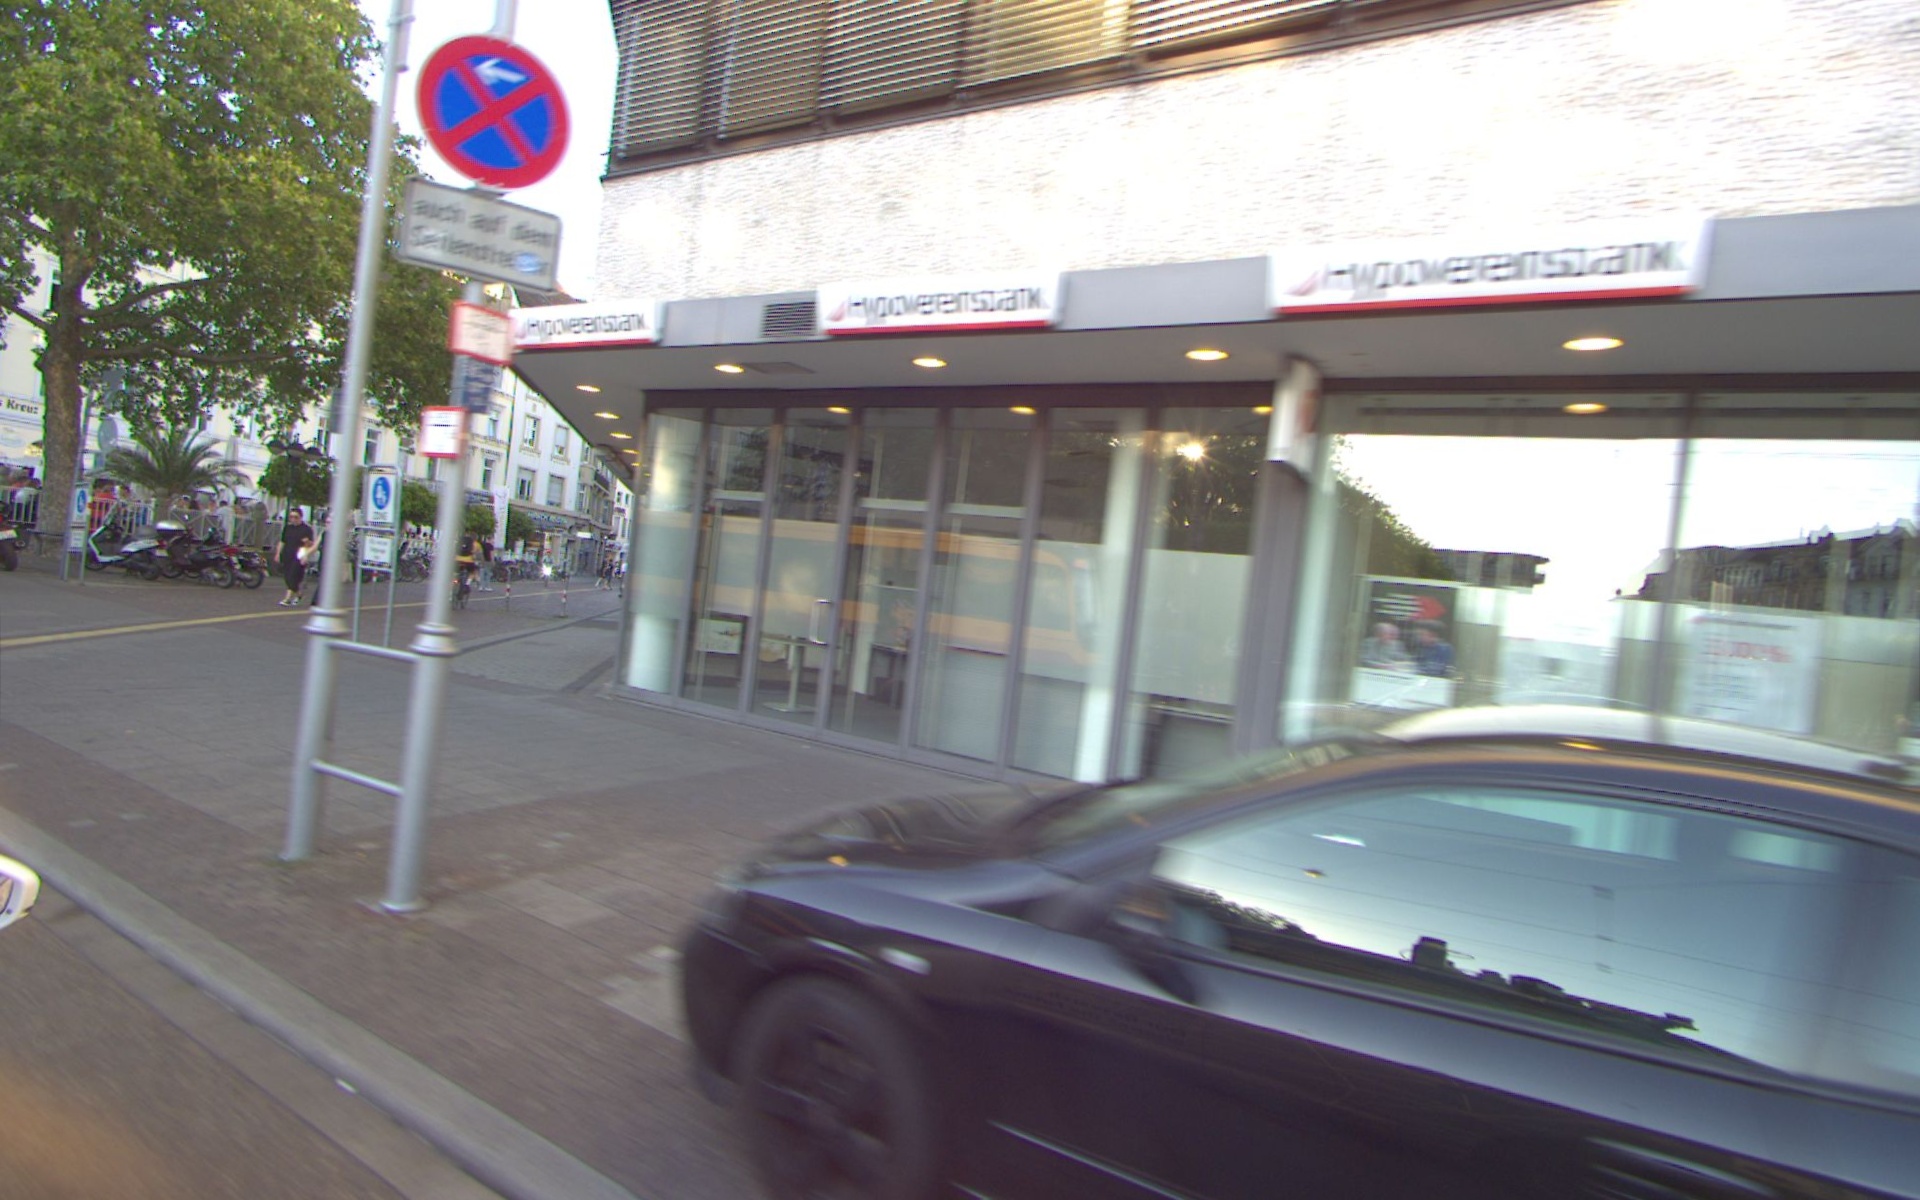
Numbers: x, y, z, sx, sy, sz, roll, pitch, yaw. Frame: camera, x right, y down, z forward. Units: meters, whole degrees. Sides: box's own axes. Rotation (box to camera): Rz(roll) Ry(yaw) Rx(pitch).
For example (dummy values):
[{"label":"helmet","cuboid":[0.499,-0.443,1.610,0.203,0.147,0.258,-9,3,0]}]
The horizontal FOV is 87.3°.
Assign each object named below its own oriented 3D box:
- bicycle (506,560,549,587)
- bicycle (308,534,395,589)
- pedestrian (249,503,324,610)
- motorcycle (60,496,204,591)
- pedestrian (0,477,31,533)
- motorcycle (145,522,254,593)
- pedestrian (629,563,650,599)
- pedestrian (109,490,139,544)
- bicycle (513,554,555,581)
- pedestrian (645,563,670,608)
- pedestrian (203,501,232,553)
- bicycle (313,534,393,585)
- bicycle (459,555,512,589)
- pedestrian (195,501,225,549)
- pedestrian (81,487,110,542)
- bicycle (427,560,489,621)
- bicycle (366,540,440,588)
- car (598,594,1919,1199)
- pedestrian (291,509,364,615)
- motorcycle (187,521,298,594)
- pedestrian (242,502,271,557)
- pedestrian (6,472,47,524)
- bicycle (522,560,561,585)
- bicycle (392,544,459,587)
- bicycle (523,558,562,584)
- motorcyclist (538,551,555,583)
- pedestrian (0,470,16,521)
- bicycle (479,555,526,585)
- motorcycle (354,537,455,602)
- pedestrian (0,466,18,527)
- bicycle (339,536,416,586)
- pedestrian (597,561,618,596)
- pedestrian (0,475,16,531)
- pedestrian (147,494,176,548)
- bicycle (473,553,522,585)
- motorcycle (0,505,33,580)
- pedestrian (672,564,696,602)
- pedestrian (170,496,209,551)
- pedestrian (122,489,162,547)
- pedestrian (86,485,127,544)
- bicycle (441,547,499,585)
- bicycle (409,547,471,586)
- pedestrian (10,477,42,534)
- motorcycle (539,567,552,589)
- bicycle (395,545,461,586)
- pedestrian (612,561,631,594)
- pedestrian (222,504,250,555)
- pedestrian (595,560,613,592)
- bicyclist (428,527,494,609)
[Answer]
[{"label":"bicycle","cuboid":[-24.531,-1.504,57.103,2.090,1.307,0.440,7,0,-24]},{"label":"bicycle","cuboid":[-17.794,-1.121,29.437,2.080,1.307,0.442,8,1,-4]},{"label":"pedestrian","cuboid":[-11.660,-0.729,17.449,0.647,1.762,0.823,5,0,-7]},{"label":"motorcycle","cuboid":[-16.059,-1.079,19.526,2.254,1.440,0.566,10,0,5]},{"label":"pedestrian","cuboid":[-23.140,-2.320,24.632,0.472,1.301,0.533,5,0,-44]},{"label":"motorcycle","cuboid":[-15.613,-0.876,20.670,1.763,1.164,0.553,9,0,5]},{"label":"pedestrian","cuboid":[-18.372,-1.090,57.731,0.831,1.993,0.756,5,0,-31]},{"label":"pedestrian","cuboid":[-21.090,-2.086,25.372,0.472,1.301,0.534,5,0,-42]},{"label":"bicycle","cuboid":[-24.762,-1.889,58.517,2.090,1.307,0.440,7,0,-24]},{"label":"pedestrian","cuboid":[-12.664,-0.614,42.145,0.564,1.808,0.624,5,0,23]},{"label":"pedestrian","cuboid":[-19.507,-1.902,26.422,0.472,1.301,0.534,5,0,-42]},{"label":"bicycle","cuboid":[-19.205,-1.282,31.838,2.080,1.308,0.441,8,2,-4]},{"label":"bicycle","cuboid":[-22.244,-1.314,47.190,2.090,1.307,0.440,7,0,-24]},{"label":"pedestrian","cuboid":[-21.616,-2.155,28.997,0.469,1.301,0.537,5,0,41]},{"label":"pedestrian","cuboid":[-21.664,-2.139,25.207,0.475,1.301,0.519,5,0,-41]},{"label":"bicycle","cuboid":[-11.231,-0.191,22.568,0.641,1.226,2.191,7,-2,-14]},{"label":"bicycle","cuboid":[-18.994,-1.228,34.341,2.080,1.307,0.442,8,1,-4]},{"label":"car","cuboid":[1.282,0.898,2.324,4.269,1.399,1.654,7,3,32]},{"label":"pedestrian","cuboid":[-10.954,-0.636,17.449,0.647,1.745,0.823,5,0,-7]},{"label":"motorcycle","cuboid":[-15.290,-0.898,21.459,1.920,1.297,0.563,7,0,5]},{"label":"pedestrian","cuboid":[-18.815,-1.881,26.909,0.472,1.417,0.534,5,0,-42]},{"label":"pedestrian","cuboid":[-32.222,-3.517,34.727,0.648,1.663,0.758,5,0,29]},{"label":"bicycle","cuboid":[-25.936,-1.687,62.385,2.090,1.307,0.440,7,0,-24]},{"label":"bicycle","cuboid":[-20.127,-1.298,37.925,2.090,1.307,0.440,8,0,-24]},{"label":"bicycle","cuboid":[-25.900,-1.802,62.460,2.090,1.307,0.440,7,0,-24]},{"label":"motorcyclist","cuboid":[-19.973,-1.576,48.589,0.591,1.458,0.600,6,0,-21]},{"label":"pedestrian","cuboid":[-32.574,-3.562,33.962,0.648,1.663,0.758,5,0,31]},{"label":"bicycle","cuboid":[-23.697,-1.547,52.099,2.090,1.307,0.440,7,0,-24]},{"label":"motorcycle","cuboid":[-13.285,-0.711,24.092,1.923,1.297,0.562,7,0,-6]},{"label":"pedestrian","cuboid":[-25.745,-2.780,26.961,0.617,1.590,0.623,5,0,-44]},{"label":"bicycle","cuboid":[-19.075,-1.266,32.940,2.080,1.308,0.441,8,2,-4]},{"label":"pedestrian","cuboid":[-19.420,-1.167,55.401,0.752,1.854,0.669,5,0,41]},{"label":"pedestrian","cuboid":[-23.701,-2.395,24.857,0.472,1.346,0.533,5,0,-44]},{"label":"pedestrian","cuboid":[-20.395,-2.016,25.687,0.472,1.301,0.534,5,0,-42]},{"label":"bicycle","cuboid":[-23.172,-1.539,50.405,2.090,1.307,0.440,7,0,-24]},{"label":"motorcycle","cuboid":[-16.568,-1.044,17.200,1.997,1.172,0.455,7,0,32]},{"label":"pedestrian","cuboid":[-12.273,-0.745,44.814,0.750,1.615,0.617,5,0,1]},{"label":"pedestrian","cuboid":[-19.462,-1.919,25.417,0.642,1.301,0.732,5,0,-42]},{"label":"pedestrian","cuboid":[-19.912,-1.983,24.485,0.642,1.301,0.732,5,0,-42]},{"label":"pedestrian","cuboid":[-20.439,-2.039,24.078,0.642,1.301,0.732,5,0,-42]},{"label":"bicycle","cuboid":[-20.953,-1.448,43.068,2.090,1.307,0.440,8,0,-24]},{"label":"bicycle","cuboid":[-21.171,-1.366,40.991,2.090,1.307,0.439,8,1,-24]},{"label":"pedestrian","cuboid":[-22.600,-2.274,24.340,0.472,1.301,0.533,5,0,-44]},{"label":"motorcycle","cuboid":[-20.038,-1.069,48.589,0.345,1.046,1.573,5,-1,-28]},{"label":"bicycle","cuboid":[-20.593,-1.322,38.991,2.090,1.307,0.439,8,0,-24]},{"label":"pedestrian","cuboid":[-19.486,-1.279,57.903,0.743,1.832,0.756,5,0,-33]},{"label":"pedestrian","cuboid":[-19.674,-1.908,27.324,0.472,1.301,0.534,5,0,-42]},{"label":"pedestrian","cuboid":[-19.986,-1.326,56.499,0.586,1.721,0.607,5,0,40]},{"label":"bicyclist","cuboid":[-11.130,-0.684,22.479,0.977,1.671,0.997,7,-2,-14]}]
